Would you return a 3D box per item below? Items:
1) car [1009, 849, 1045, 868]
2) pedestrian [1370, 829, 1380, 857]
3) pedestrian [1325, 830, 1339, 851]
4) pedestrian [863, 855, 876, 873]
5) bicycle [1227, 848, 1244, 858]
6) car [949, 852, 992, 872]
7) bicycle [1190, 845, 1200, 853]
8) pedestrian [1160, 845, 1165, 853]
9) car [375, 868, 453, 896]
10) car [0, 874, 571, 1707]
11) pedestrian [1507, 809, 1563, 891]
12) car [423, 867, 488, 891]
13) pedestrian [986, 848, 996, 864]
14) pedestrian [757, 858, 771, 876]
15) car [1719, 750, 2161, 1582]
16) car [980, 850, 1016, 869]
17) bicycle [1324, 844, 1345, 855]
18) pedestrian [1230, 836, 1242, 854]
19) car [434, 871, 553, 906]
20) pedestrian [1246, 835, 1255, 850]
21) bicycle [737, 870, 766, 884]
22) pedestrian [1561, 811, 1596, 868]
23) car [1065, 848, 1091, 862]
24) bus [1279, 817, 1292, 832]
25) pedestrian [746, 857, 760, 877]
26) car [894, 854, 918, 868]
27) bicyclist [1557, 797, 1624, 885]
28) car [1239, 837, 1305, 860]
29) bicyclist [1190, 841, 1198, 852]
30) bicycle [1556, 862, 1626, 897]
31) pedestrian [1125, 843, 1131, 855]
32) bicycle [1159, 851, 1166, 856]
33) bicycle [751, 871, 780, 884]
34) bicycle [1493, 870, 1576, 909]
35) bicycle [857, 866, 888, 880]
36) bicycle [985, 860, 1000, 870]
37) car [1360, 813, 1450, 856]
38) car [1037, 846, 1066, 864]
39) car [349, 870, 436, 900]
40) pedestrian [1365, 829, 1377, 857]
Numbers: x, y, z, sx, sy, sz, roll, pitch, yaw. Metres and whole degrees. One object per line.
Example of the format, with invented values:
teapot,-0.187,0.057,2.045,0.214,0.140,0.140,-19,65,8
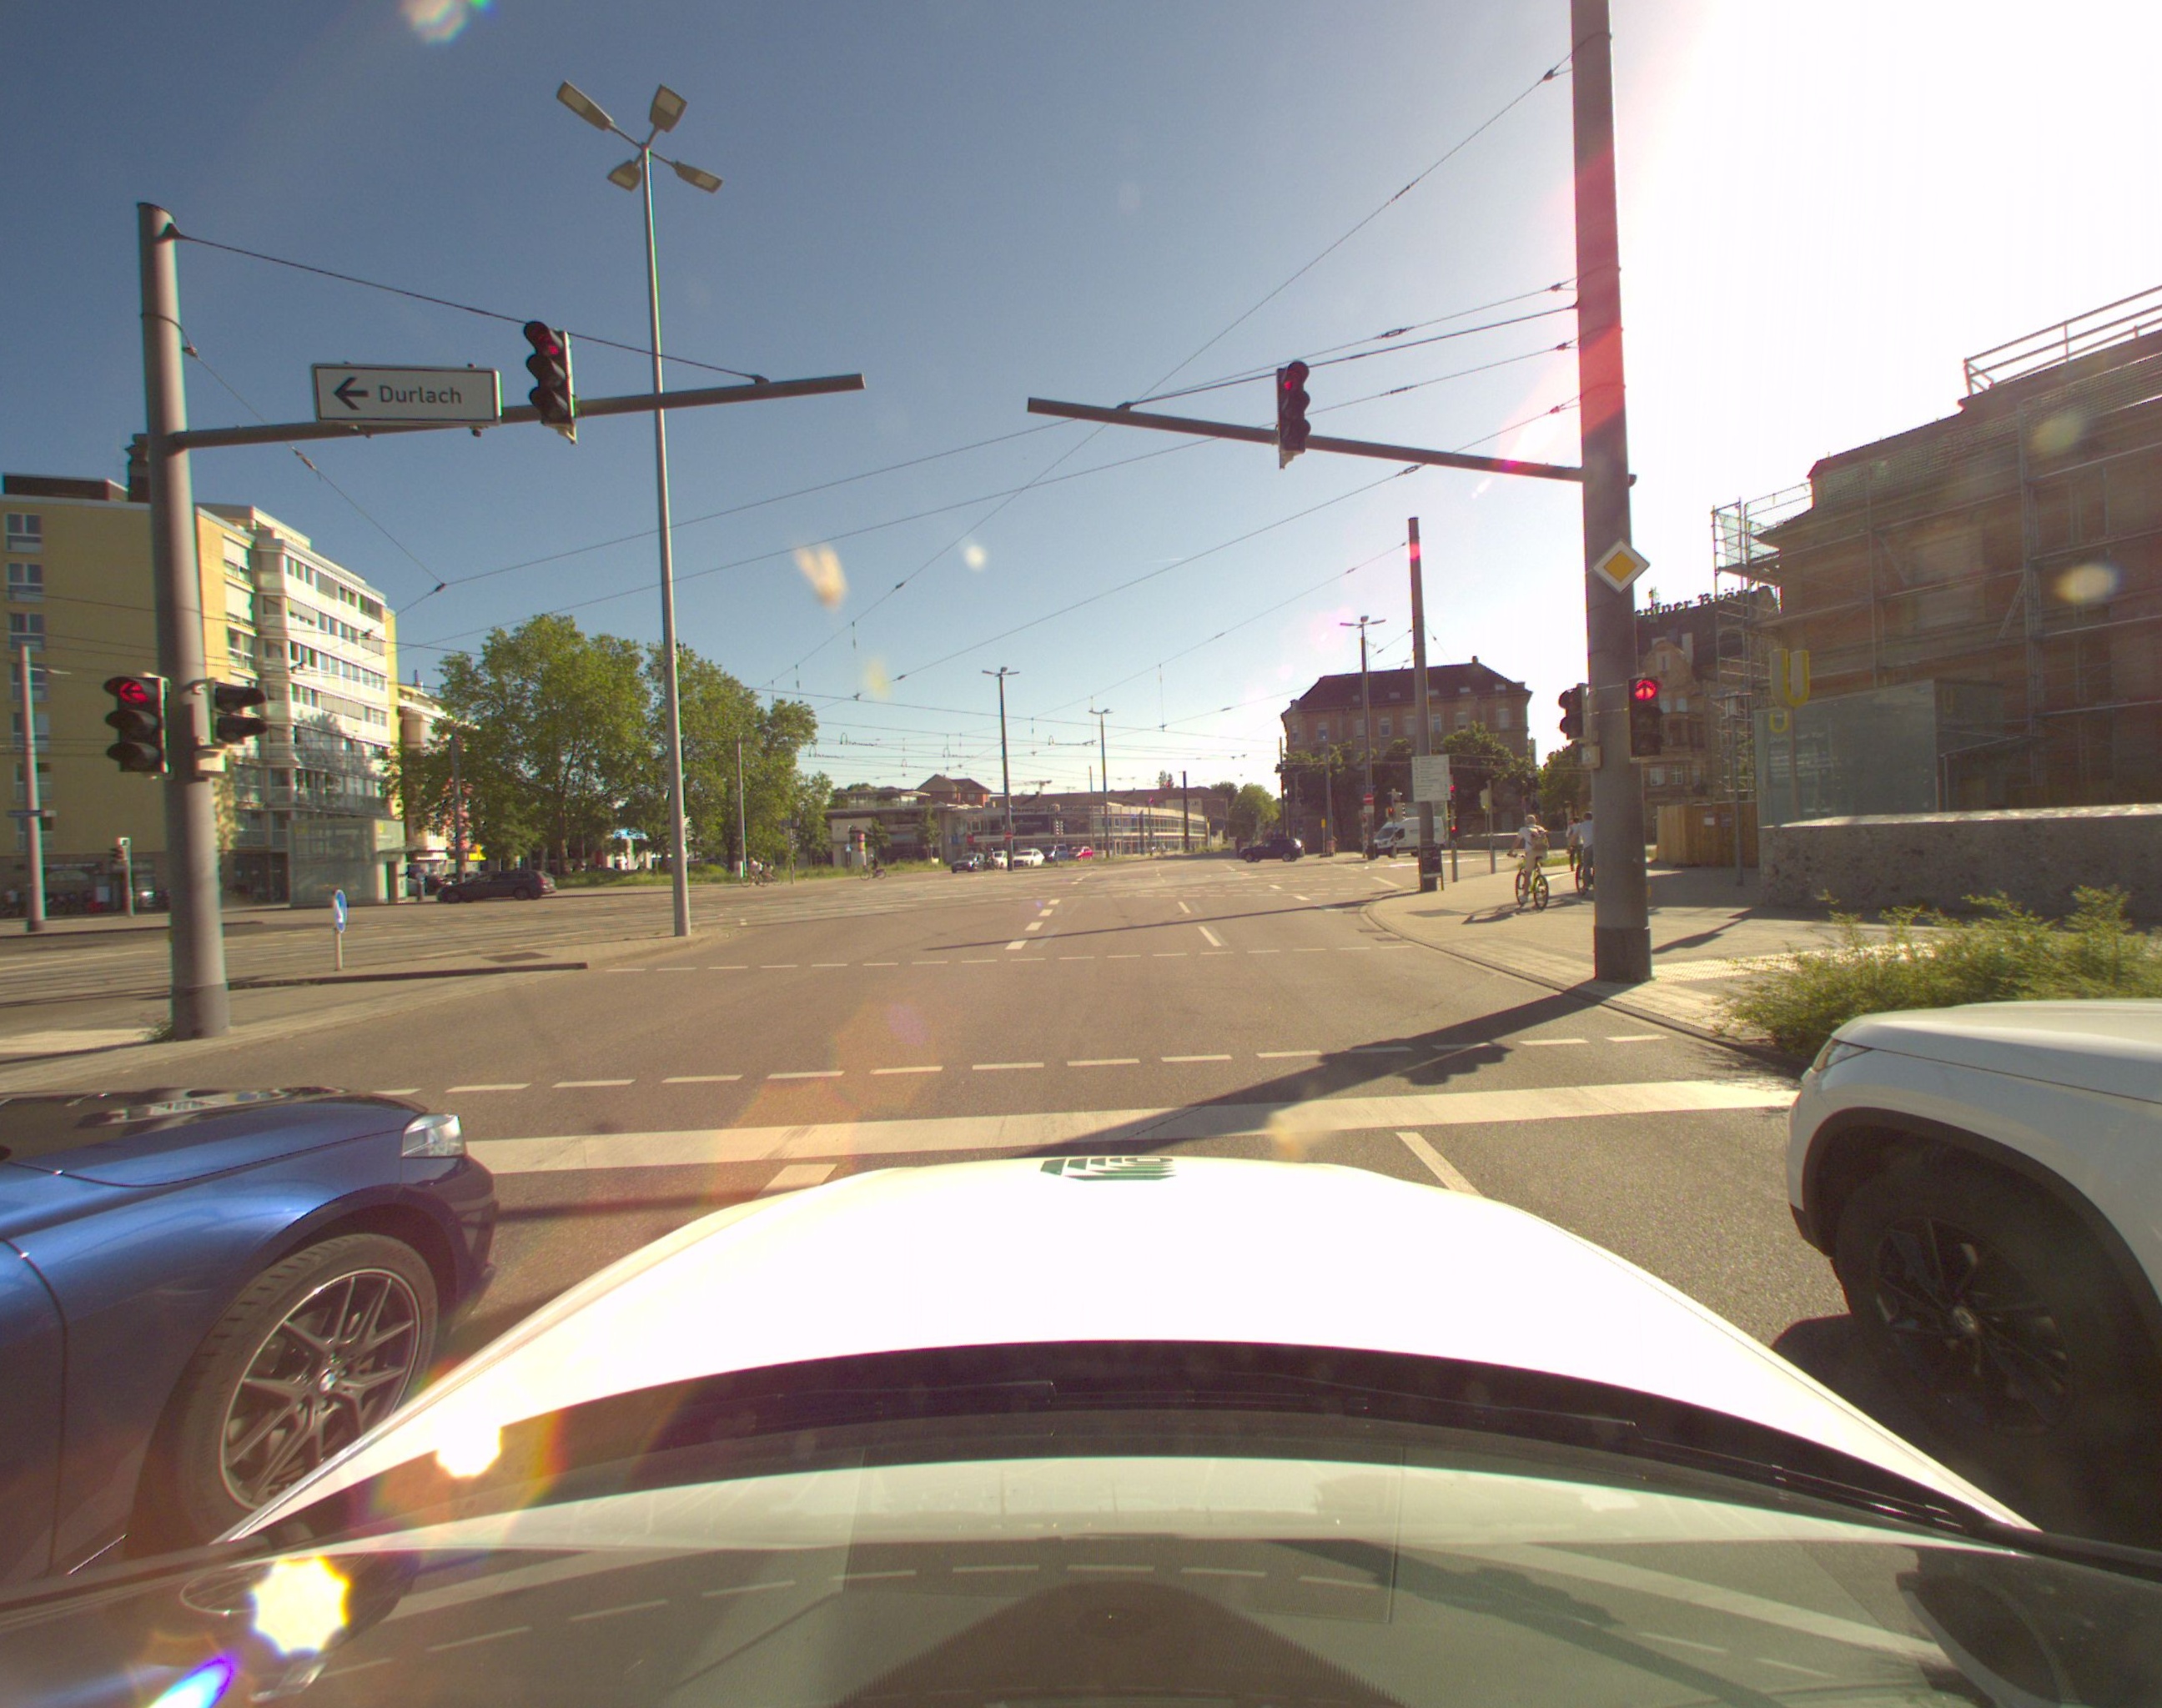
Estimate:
car,-4.356,0.375,65.874,1.613,1.382,3.754,-2,0,17
pedestrian,22.029,-0.822,60.996,0.461,2.013,0.449,-3,0,-16
pedestrian,20.539,-1.115,66.579,0.722,1.632,0.749,-2,0,-42
pedestrian,-14.337,0.662,55.302,0.795,1.204,0.557,-2,0,-16
bicycle,14.265,-0.073,75.084,0.736,0.870,1.944,-2,0,37
car,-8.390,0.594,61.901,1.689,1.354,3.719,-2,0,19
bicycle,17.187,-0.747,123.136,0.802,1.045,2.140,-2,0,28
pedestrian,11.450,-0.714,114.520,0.418,1.204,0.685,-2,0,28
car,-45.677,1.918,55.816,3.742,1.662,1.585,-2,0,-18
car,-2.654,0.802,0.707,1.703,1.445,4.035,-1,0,3
pedestrian,8.986,-0.086,16.137,0.547,1.562,0.856,-2,0,-5
car,-49.751,1.953,64.841,3.742,1.662,1.585,-2,0,-18
pedestrian,-6.754,0.144,61.361,0.419,1.204,0.753,-2,0,19
pedestrian,-19.996,0.824,51.425,0.749,1.127,0.421,-2,0,-18
car,2.940,0.594,0.525,1.689,1.641,4.297,-2,0,1
car,-6.858,0.422,67.822,1.613,1.424,3.702,-2,0,17
bicycle,20.772,-0.393,66.767,1.941,0.870,0.736,-2,0,-41
pedestrian,14.368,-0.863,75.330,0.795,1.632,0.723,-2,0,37
car,-28.166,1.614,39.195,4.222,1.400,1.848,-2,0,-18
pedestrian,18.043,-1.212,86.576,0.739,1.523,0.722,-2,0,20
bicycle,-20.195,1.429,49.929,1.635,0.758,0.421,-2,0,-21
pedestrian,16.728,-0.475,27.382,0.887,1.859,0.933,-2,0,37
car,-0.291,0.070,86.932,1.613,1.364,3.703,-2,0,18
bus,62.538,-8.962,248.645,3.809,3.607,24.963,-1,0,14
pedestrian,-20.130,0.789,49.960,0.750,1.204,0.421,-2,0,-21
car,-21.699,0.853,101.274,1.958,1.706,4.085,-2,0,2
bicyclist,10.864,-0.272,17.391,0.745,1.778,0.924,-3,0,-1
car,13.603,-0.387,58.079,4.211,1.503,1.715,-2,0,27
bicyclist,17.045,-1.176,122.871,0.802,1.623,0.934,-2,0,28
bicycle,10.902,0.529,17.458,0.535,0.655,1.467,-3,0,0
pedestrian,6.728,-0.673,115.788,0.537,1.688,0.634,-2,0,38
bicycle,11.522,-0.108,114.610,0.418,0.718,1.484,-2,0,28
bicycle,-19.937,1.488,51.437,1.634,0.718,0.421,-2,0,-18
bicycle,9.042,0.683,16.302,0.536,0.655,1.722,-5,1,-5
bicycle,-14.165,1.286,55.344,2.009,0.913,0.559,-2,0,-16
bicycle,-6.689,0.821,61.453,0.419,0.718,1.642,-2,0,19
car,22.393,-1.374,56.294,5.928,2.744,2.128,-2,0,-22
car,-2.854,0.075,79.865,1.613,1.692,3.702,-2,0,17
car,-42.811,1.893,50.701,3.742,1.662,1.585,-2,0,-18
pedestrian,21.494,-0.819,60.392,0.574,2.013,0.449,-3,0,-16
